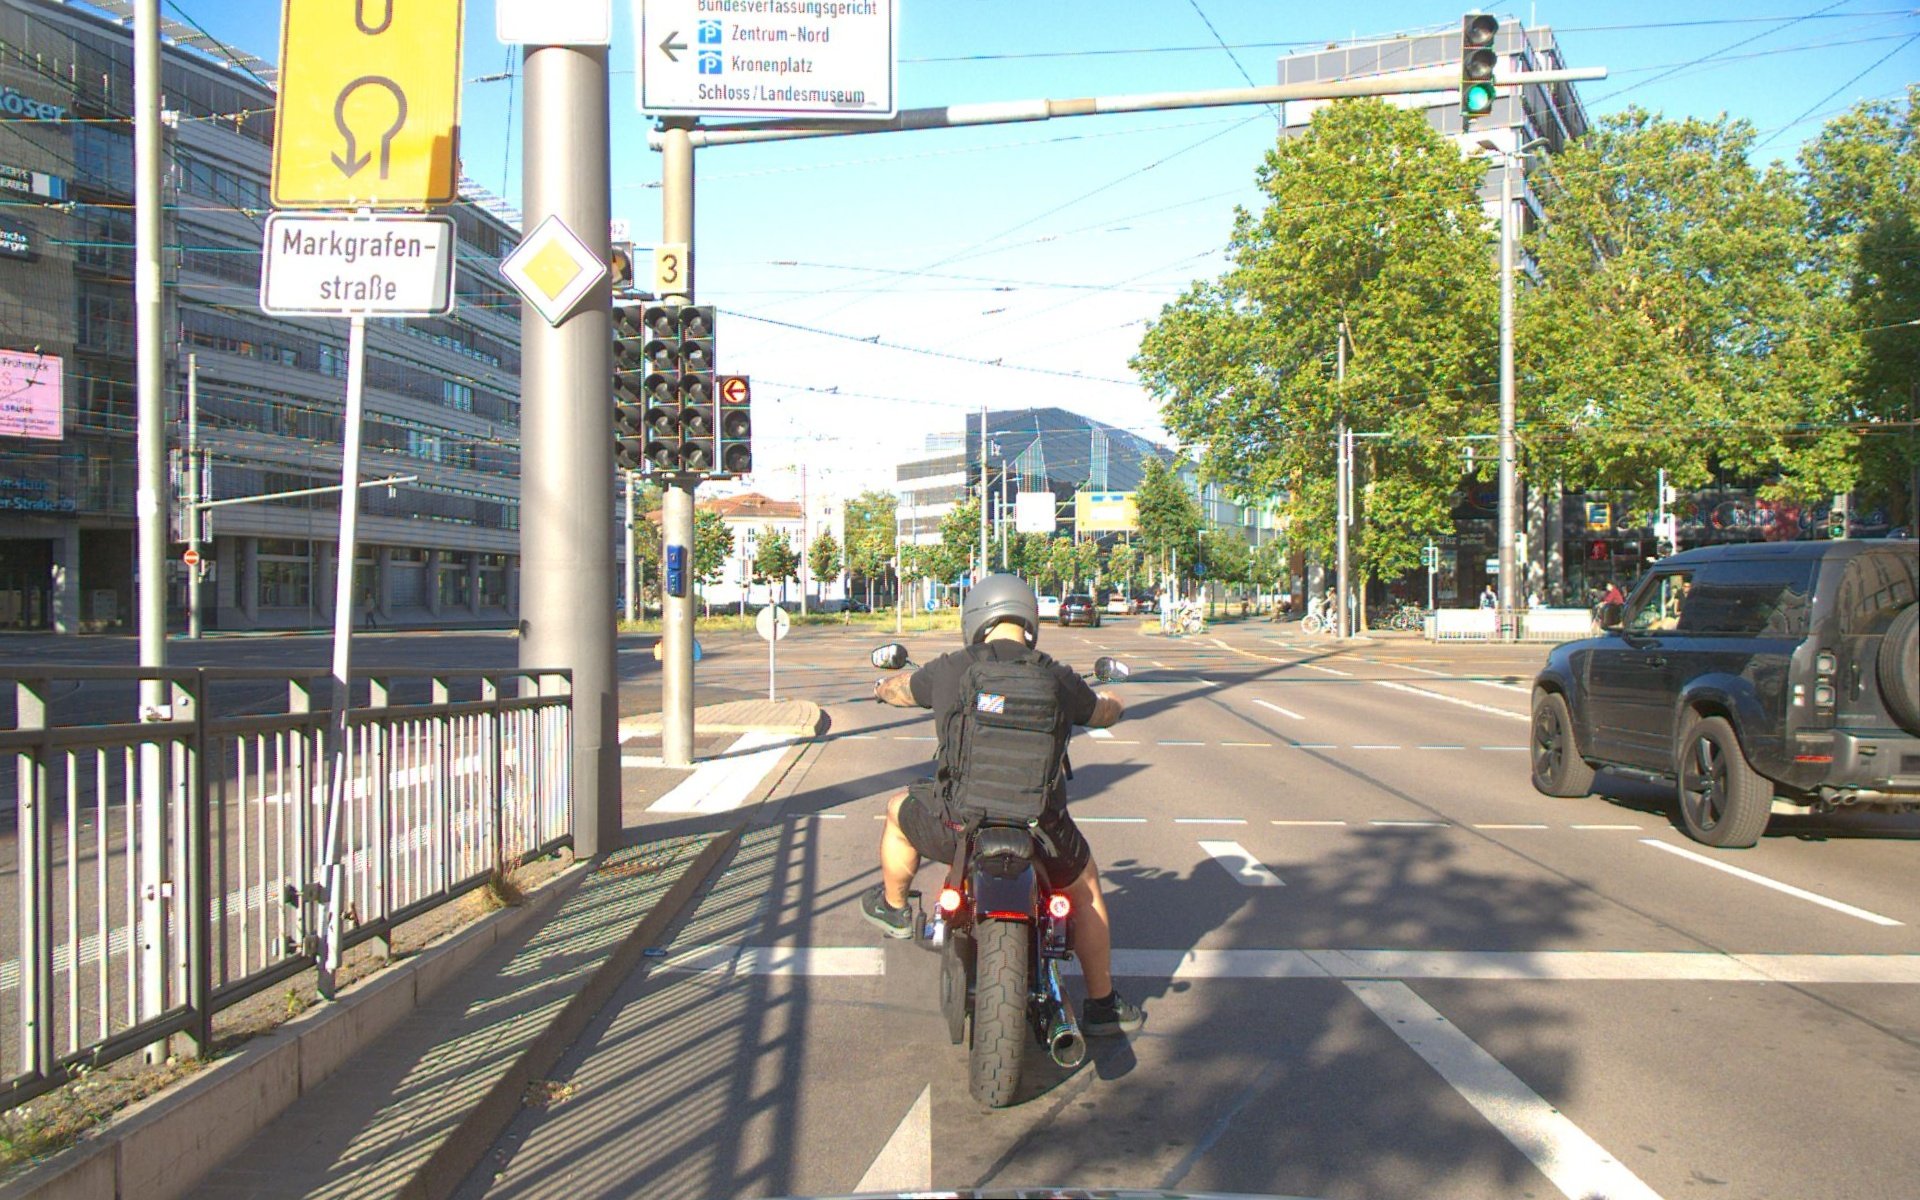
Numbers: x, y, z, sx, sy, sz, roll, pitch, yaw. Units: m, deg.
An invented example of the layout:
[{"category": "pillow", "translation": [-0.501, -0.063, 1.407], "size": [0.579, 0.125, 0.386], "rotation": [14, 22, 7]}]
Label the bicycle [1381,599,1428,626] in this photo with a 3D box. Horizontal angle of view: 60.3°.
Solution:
[{"category": "bicycle", "translation": [18.160, 0.514, 67.580], "size": [1.842, 1.065, 0.360], "rotation": [1, -1, -2]}]

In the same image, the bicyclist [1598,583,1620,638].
[{"category": "bicyclist", "translation": [22.307, 0.364, 56.861], "size": [0.572, 1.870, 0.402], "rotation": [1, -1, -1]}]

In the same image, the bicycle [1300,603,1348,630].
[{"category": "bicycle", "translation": [14.398, 0.666, 65.439], "size": [1.831, 1.062, 0.537], "rotation": [0, -1, 18]}]

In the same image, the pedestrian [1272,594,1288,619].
[{"category": "pedestrian", "translation": [17.576, 0.362, 90.899], "size": [0.802, 1.337, 0.638], "rotation": [1, -1, 8]}]

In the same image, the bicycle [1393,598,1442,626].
[{"category": "bicycle", "translation": [18.247, 0.475, 65.986], "size": [1.842, 1.065, 0.360], "rotation": [1, -1, -2]}]

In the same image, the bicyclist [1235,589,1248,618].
[{"category": "bicyclist", "translation": [18.147, 0.232, 106.576], "size": [0.682, 1.840, 0.729], "rotation": [1, -1, 3]}]

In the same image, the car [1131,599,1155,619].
[{"category": "car", "translation": [16.332, 0.841, 147.587], "size": [1.765, 1.708, 4.044], "rotation": [1, -1, 11]}]

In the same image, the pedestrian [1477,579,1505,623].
[{"category": "pedestrian", "translation": [20.949, 0.035, 65.277], "size": [0.816, 1.734, 0.759], "rotation": [1, -1, -1]}]

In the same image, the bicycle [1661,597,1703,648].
[{"category": "bicycle", "translation": [17.723, 0.556, 40.633], "size": [0.554, 1.199, 2.331], "rotation": [1, -1, 14]}]

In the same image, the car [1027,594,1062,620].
[{"category": "car", "translation": [4.816, 0.373, 93.668], "size": [1.765, 1.455, 4.456], "rotation": [0, 0, 6]}]

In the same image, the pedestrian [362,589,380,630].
[{"category": "pedestrian", "translation": [-29.800, 0.479, 83.661], "size": [0.617, 2.049, 0.754], "rotation": [1, -1, -1]}]

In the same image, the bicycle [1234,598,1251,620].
[{"category": "bicycle", "translation": [18.116, 0.574, 106.016], "size": [0.710, 1.391, 2.918], "rotation": [1, -1, 3]}]

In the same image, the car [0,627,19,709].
[{"category": "car", "translation": [-14.491, 0.903, 22.421], "size": [2.835, 1.081, 1.235], "rotation": [1, -1, -22]}]

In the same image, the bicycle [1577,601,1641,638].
[{"category": "bicycle", "translation": [22.309, 0.678, 56.862], "size": [2.001, 1.235, 0.421], "rotation": [1, -1, -1]}]

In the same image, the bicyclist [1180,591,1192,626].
[{"category": "bicyclist", "translation": [9.198, 0.353, 67.270], "size": [0.374, 1.397, 0.344], "rotation": [1, -1, -9]}]

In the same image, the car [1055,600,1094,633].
[{"category": "car", "translation": [5.872, 0.832, 84.453], "size": [1.765, 1.623, 4.456], "rotation": [0, 0, 6]}]

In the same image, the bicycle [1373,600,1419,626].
[{"category": "bicycle", "translation": [18.131, 0.536, 68.768], "size": [1.842, 1.065, 0.360], "rotation": [1, -1, -2]}]

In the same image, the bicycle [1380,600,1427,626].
[{"category": "bicycle", "translation": [18.269, 0.533, 68.140], "size": [1.842, 1.064, 0.360], "rotation": [1, 0, -2]}]

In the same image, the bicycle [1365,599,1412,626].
[{"category": "bicycle", "translation": [18.069, 0.524, 69.752], "size": [1.842, 1.064, 0.360], "rotation": [1, 0, -2]}]

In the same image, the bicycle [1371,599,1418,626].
[{"category": "bicycle", "translation": [18.198, 0.529, 69.256], "size": [1.842, 1.064, 0.360], "rotation": [1, 0, -2]}]

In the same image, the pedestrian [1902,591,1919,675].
[{"category": "pedestrian", "translation": [17.395, 0.595, 29.858], "size": [0.554, 1.505, 0.702], "rotation": [1, -1, 20]}]

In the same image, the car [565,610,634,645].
[{"category": "car", "translation": [-17.053, 1.297, 78.373], "size": [1.712, 1.550, 4.003], "rotation": [1, -1, 11]}]

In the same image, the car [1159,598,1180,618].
[{"category": "car", "translation": [19.830, 0.792, 156.472], "size": [1.692, 1.870, 3.578], "rotation": [1, -1, 12]}]

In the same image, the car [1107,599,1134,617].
[{"category": "car", "translation": [13.422, 0.689, 137.913], "size": [1.765, 1.455, 4.457], "rotation": [0, 0, 12]}]

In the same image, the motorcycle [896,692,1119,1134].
[{"category": "motorcycle", "translation": [0.113, 0.914, 5.614], "size": [0.588, 1.054, 2.233], "rotation": [1, 0, -1]}]

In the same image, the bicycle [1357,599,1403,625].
[{"category": "bicycle", "translation": [18.009, 0.525, 70.902], "size": [1.842, 1.064, 0.360], "rotation": [1, 0, -2]}]

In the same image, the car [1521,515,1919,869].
[{"category": "car", "translation": [5.764, 0.507, 11.421], "size": [2.115, 1.948, 4.471], "rotation": [1, 0, -2]}]

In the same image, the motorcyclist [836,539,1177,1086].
[{"category": "motorcyclist", "translation": [0.133, 0.629, 5.361], "size": [1.009, 1.621, 0.873], "rotation": [0, 0, -1]}]

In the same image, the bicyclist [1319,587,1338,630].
[{"category": "bicyclist", "translation": [14.580, 0.344, 65.384], "size": [0.673, 1.702, 0.541], "rotation": [0, -1, 18]}]

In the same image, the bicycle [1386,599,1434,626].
[{"category": "bicycle", "translation": [18.161, 0.493, 66.765], "size": [1.842, 1.065, 0.360], "rotation": [1, -1, -2]}]

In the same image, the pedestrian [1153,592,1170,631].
[{"category": "pedestrian", "translation": [8.465, 0.484, 69.372], "size": [0.576, 1.584, 0.488], "rotation": [1, -1, -9]}]

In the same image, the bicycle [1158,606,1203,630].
[{"category": "bicycle", "translation": [8.955, 0.715, 67.235], "size": [1.792, 0.942, 0.357], "rotation": [1, -1, -9]}]

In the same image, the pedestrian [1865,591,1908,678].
[{"category": "pedestrian", "translation": [16.741, 0.619, 29.898], "size": [0.554, 1.559, 0.702], "rotation": [1, -1, 19]}]

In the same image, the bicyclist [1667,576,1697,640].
[{"category": "bicyclist", "translation": [17.739, 0.194, 40.638], "size": [0.553, 1.545, 0.634], "rotation": [1, -1, 14]}]
